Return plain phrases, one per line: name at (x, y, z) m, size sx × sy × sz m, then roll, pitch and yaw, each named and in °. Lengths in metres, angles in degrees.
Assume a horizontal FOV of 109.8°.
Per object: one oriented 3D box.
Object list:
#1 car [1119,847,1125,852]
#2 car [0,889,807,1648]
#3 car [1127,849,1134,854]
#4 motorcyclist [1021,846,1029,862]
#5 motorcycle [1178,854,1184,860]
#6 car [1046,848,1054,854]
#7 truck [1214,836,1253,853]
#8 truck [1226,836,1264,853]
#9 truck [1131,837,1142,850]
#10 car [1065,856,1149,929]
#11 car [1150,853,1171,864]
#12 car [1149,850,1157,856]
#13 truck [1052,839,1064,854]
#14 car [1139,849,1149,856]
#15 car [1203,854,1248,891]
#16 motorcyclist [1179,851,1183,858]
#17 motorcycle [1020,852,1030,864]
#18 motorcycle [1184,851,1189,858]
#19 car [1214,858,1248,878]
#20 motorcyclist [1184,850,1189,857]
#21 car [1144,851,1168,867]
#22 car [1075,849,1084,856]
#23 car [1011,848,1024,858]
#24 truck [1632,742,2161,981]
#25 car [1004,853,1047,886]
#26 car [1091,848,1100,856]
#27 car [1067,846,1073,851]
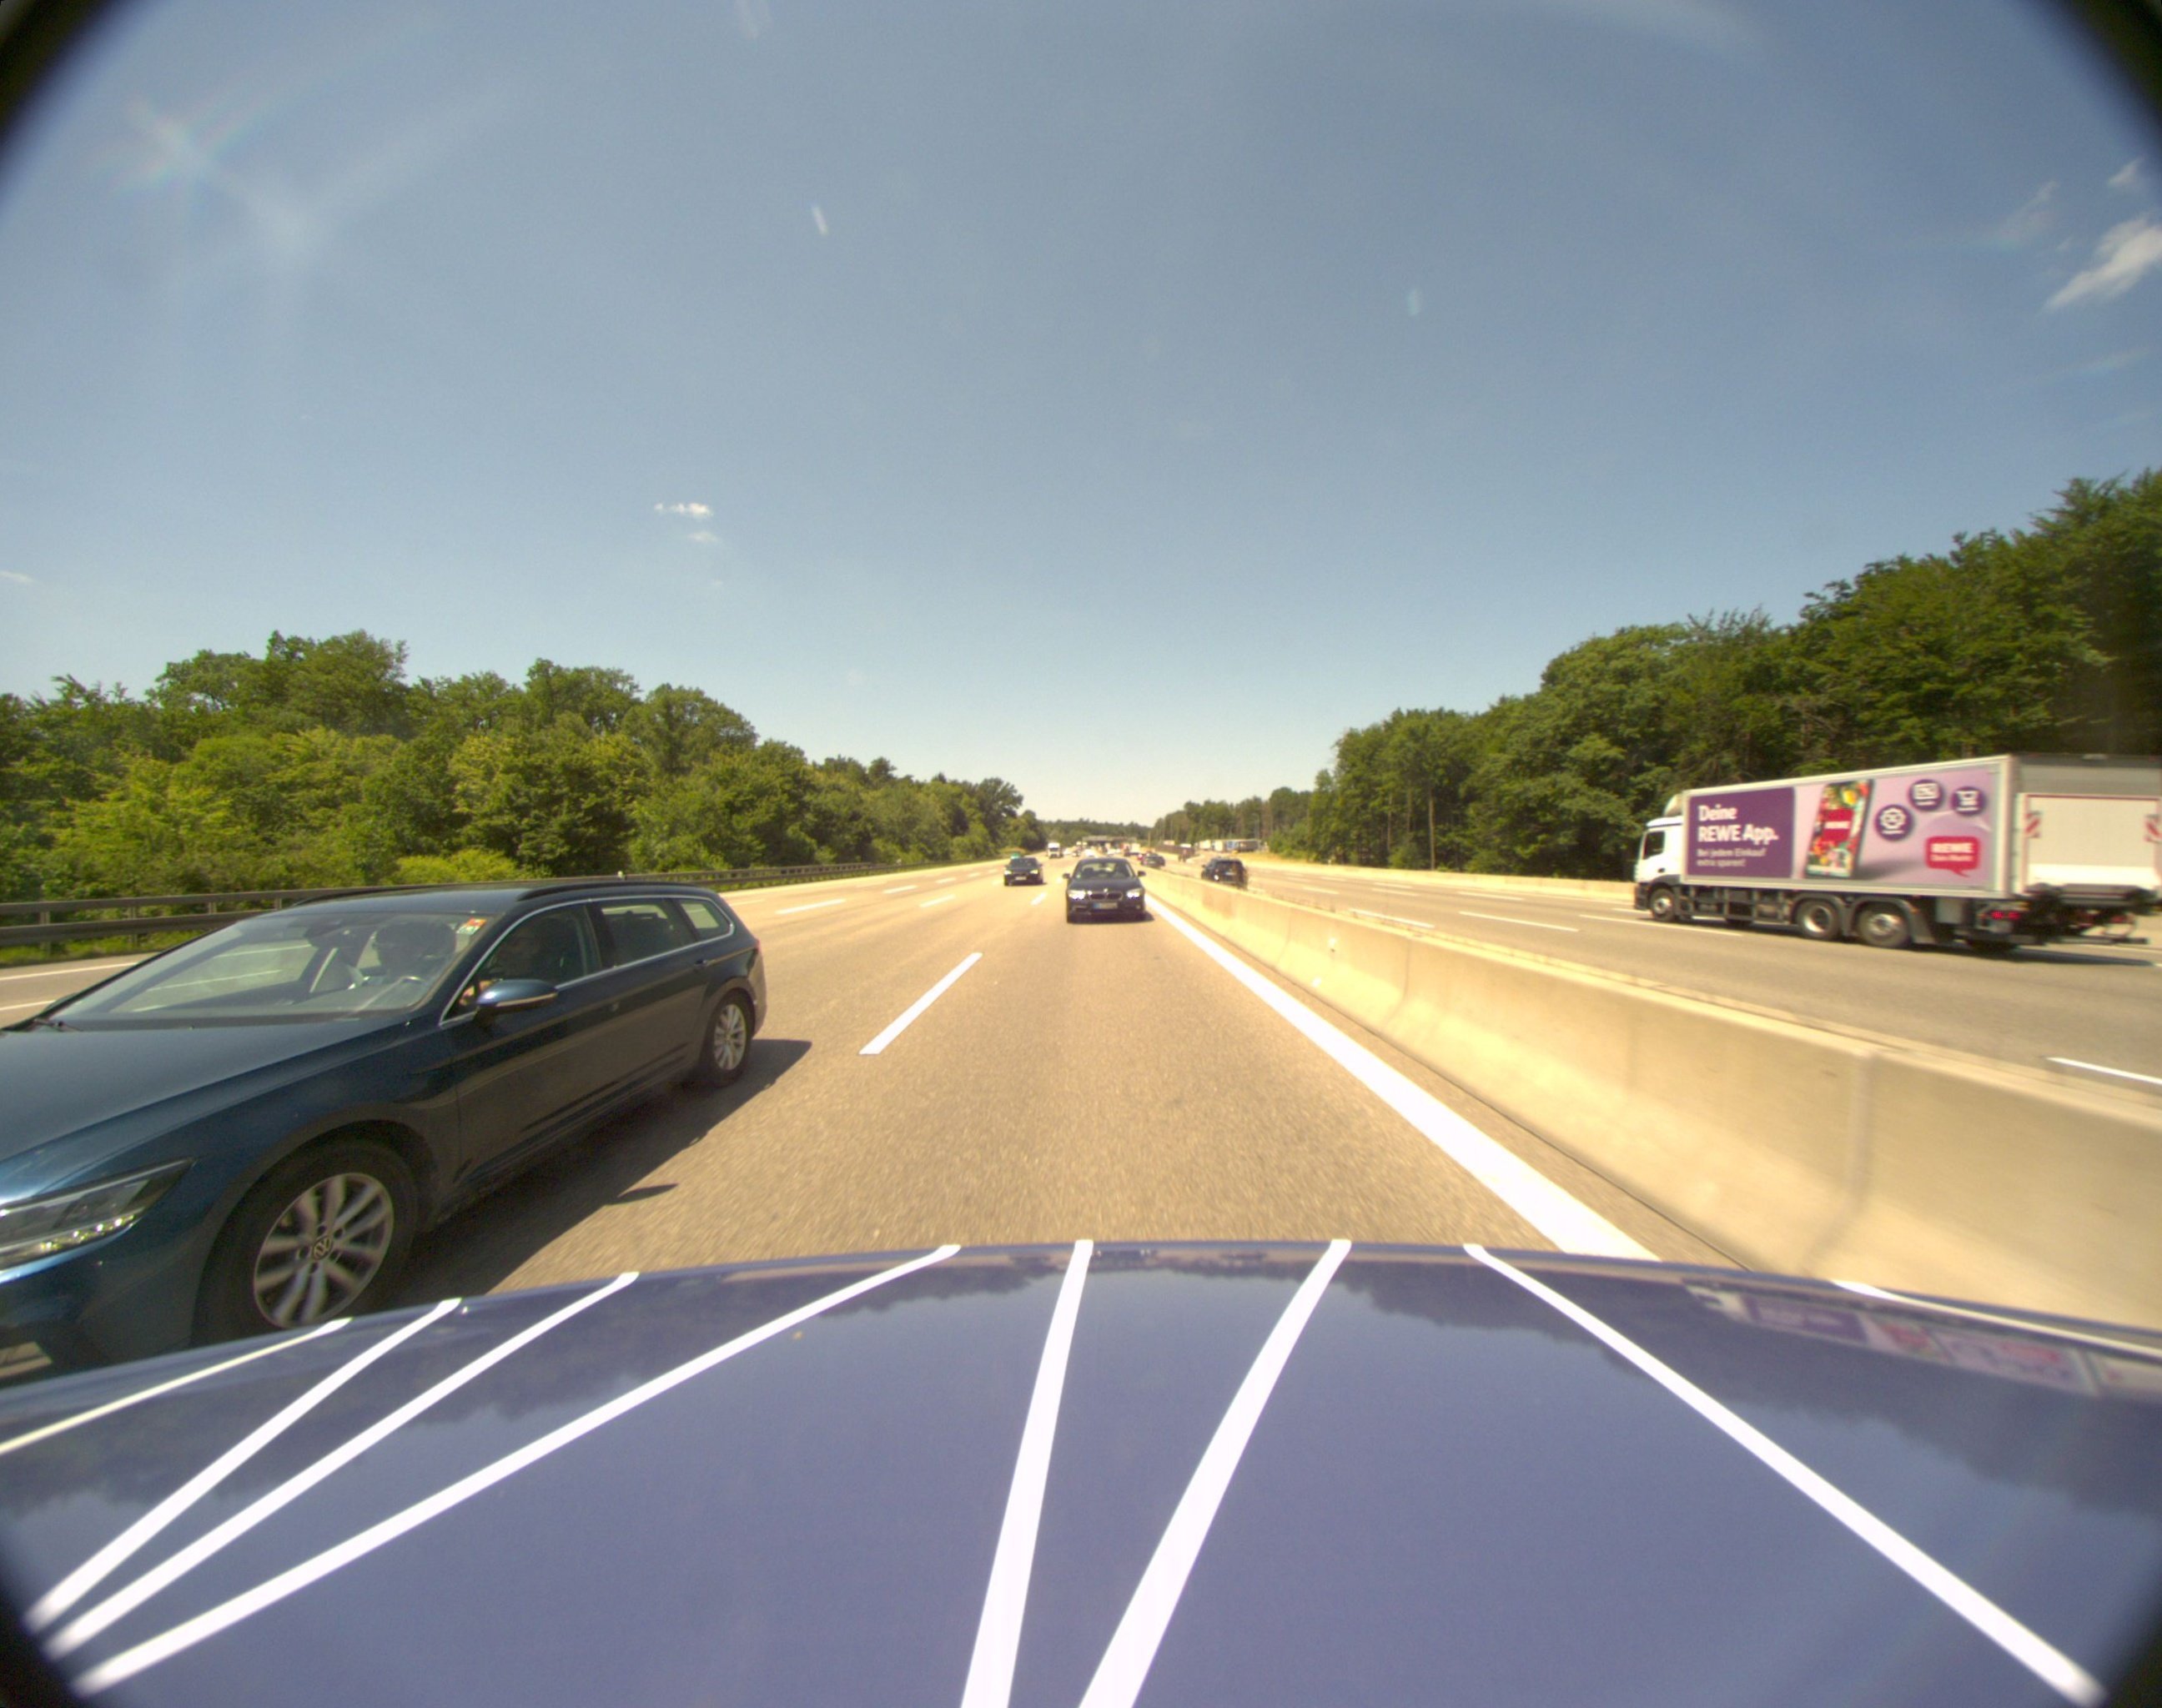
car at (13.890, -1.650, 257.709) m, size 1.917 × 1.651 × 4.688 m, roll 1°, pitch 1°, yaw 1°
car at (-3.222, 1.035, 3.861) m, size 1.734 × 1.439 × 4.961 m, roll 0°, pitch 1°, yaw 1°
car at (13.092, -0.707, 202.862) m, size 1.706 × 1.419 × 4.613 m, roll 1°, pitch 1°, yaw 2°
motorcyclist at (-6.603, -0.016, 89.665) m, size 0.914 × 1.926 × 0.905 m, roll 0°, pitch 1°, yaw 0°
motorcycle at (20.219, 0.561, 153.774) m, size 0.779 × 1.135 × 2.756 m, roll 1°, pitch 1°, yaw 1°
car at (-8.461, -0.750, 207.336) m, size 1.874 × 1.560 × 4.127 m, roll 0°, pitch 0°, yaw 2°
truck at (50.037, -3.139, 248.690) m, size 16.745 × 5.581 × 3.440 m, roll -1°, pitch 2°, yaw -44°
truck at (53.458, -3.065, 246.998) m, size 16.745 × 5.581 × 3.214 m, roll -1°, pitch 2°, yaw -44°
truck at (16.917, -3.139, 231.420) m, size 2.865 × 3.990 × 9.466 m, roll 0°, pitch 1°, yaw 1°
car at (0.616, 0.817, 18.381) m, size 1.741 × 1.450 × 4.542 m, roll -2°, pitch 1°, yaw 2°
car at (10.205, 0.537, 97.696) m, size 1.927 × 1.341 × 5.043 m, roll 0°, pitch 1°, yaw -2°
car at (21.024, -0.293, 221.280) m, size 2.052 × 1.665 × 5.188 m, roll 1°, pitch 1°, yaw 1°
truck at (-4.940, -1.652, 163.237) m, size 2.429 × 3.237 × 8.687 m, roll 1°, pitch 1°, yaw -1°
car at (12.497, -0.314, 151.015) m, size 1.576 × 1.503 × 4.030 m, roll 1°, pitch 1°, yaw 2°
car at (6.973, 0.866, 37.006) m, size 1.618 × 1.652 × 3.849 m, roll 0°, pitch 1°, yaw 3°
motorcyclist at (20.209, 0.142, 153.854) m, size 0.771 × 1.294 × 1.077 m, roll 1°, pitch 1°, yaw 1°
motorcycle at (-6.599, 0.452, 89.808) m, size 0.925 × 1.311 × 2.997 m, roll 0°, pitch 1°, yaw 1°
motorcycle at (19.669, 0.065, 141.517) m, size 0.740 × 1.207 × 2.349 m, roll 1°, pitch 1°, yaw 1°
car at (11.573, 1.084, 58.839) m, size 1.722 × 1.441 × 4.908 m, roll 1°, pitch 0°, yaw 1°
motorcyclist at (19.673, -0.098, 141.512) m, size 0.762 × 1.294 × 1.077 m, roll 1°, pitch 2°, yaw 1°
car at (6.771, 0.476, 69.120) m, size 1.757 × 1.369 × 4.491 m, roll 0°, pitch 0°, yaw 1°
car at (-0.238, -0.370, 186.420) m, size 1.998 × 1.671 × 4.127 m, roll 1°, pitch 1°, yaw 2°
car at (-12.117, -0.183, 145.105) m, size 1.998 × 1.671 × 4.127 m, roll 1°, pitch 1°, yaw 2°
truck at (17.848, 0.051, 17.627) m, size 2.726 × 3.917 × 10.234 m, roll 1°, pitch 1°, yaw 1°
car at (-2.787, 0.746, 38.749) m, size 1.834 × 1.454 × 4.203 m, roll 1°, pitch 1°, yaw 1°
car at (3.356, -0.522, 178.084) m, size 1.998 × 1.935 × 4.128 m, roll 0°, pitch 0°, yaw 2°
car at (-3.388, -1.579, 232.003) m, size 1.874 × 1.560 × 4.127 m, roll 0°, pitch 0°, yaw 2°
